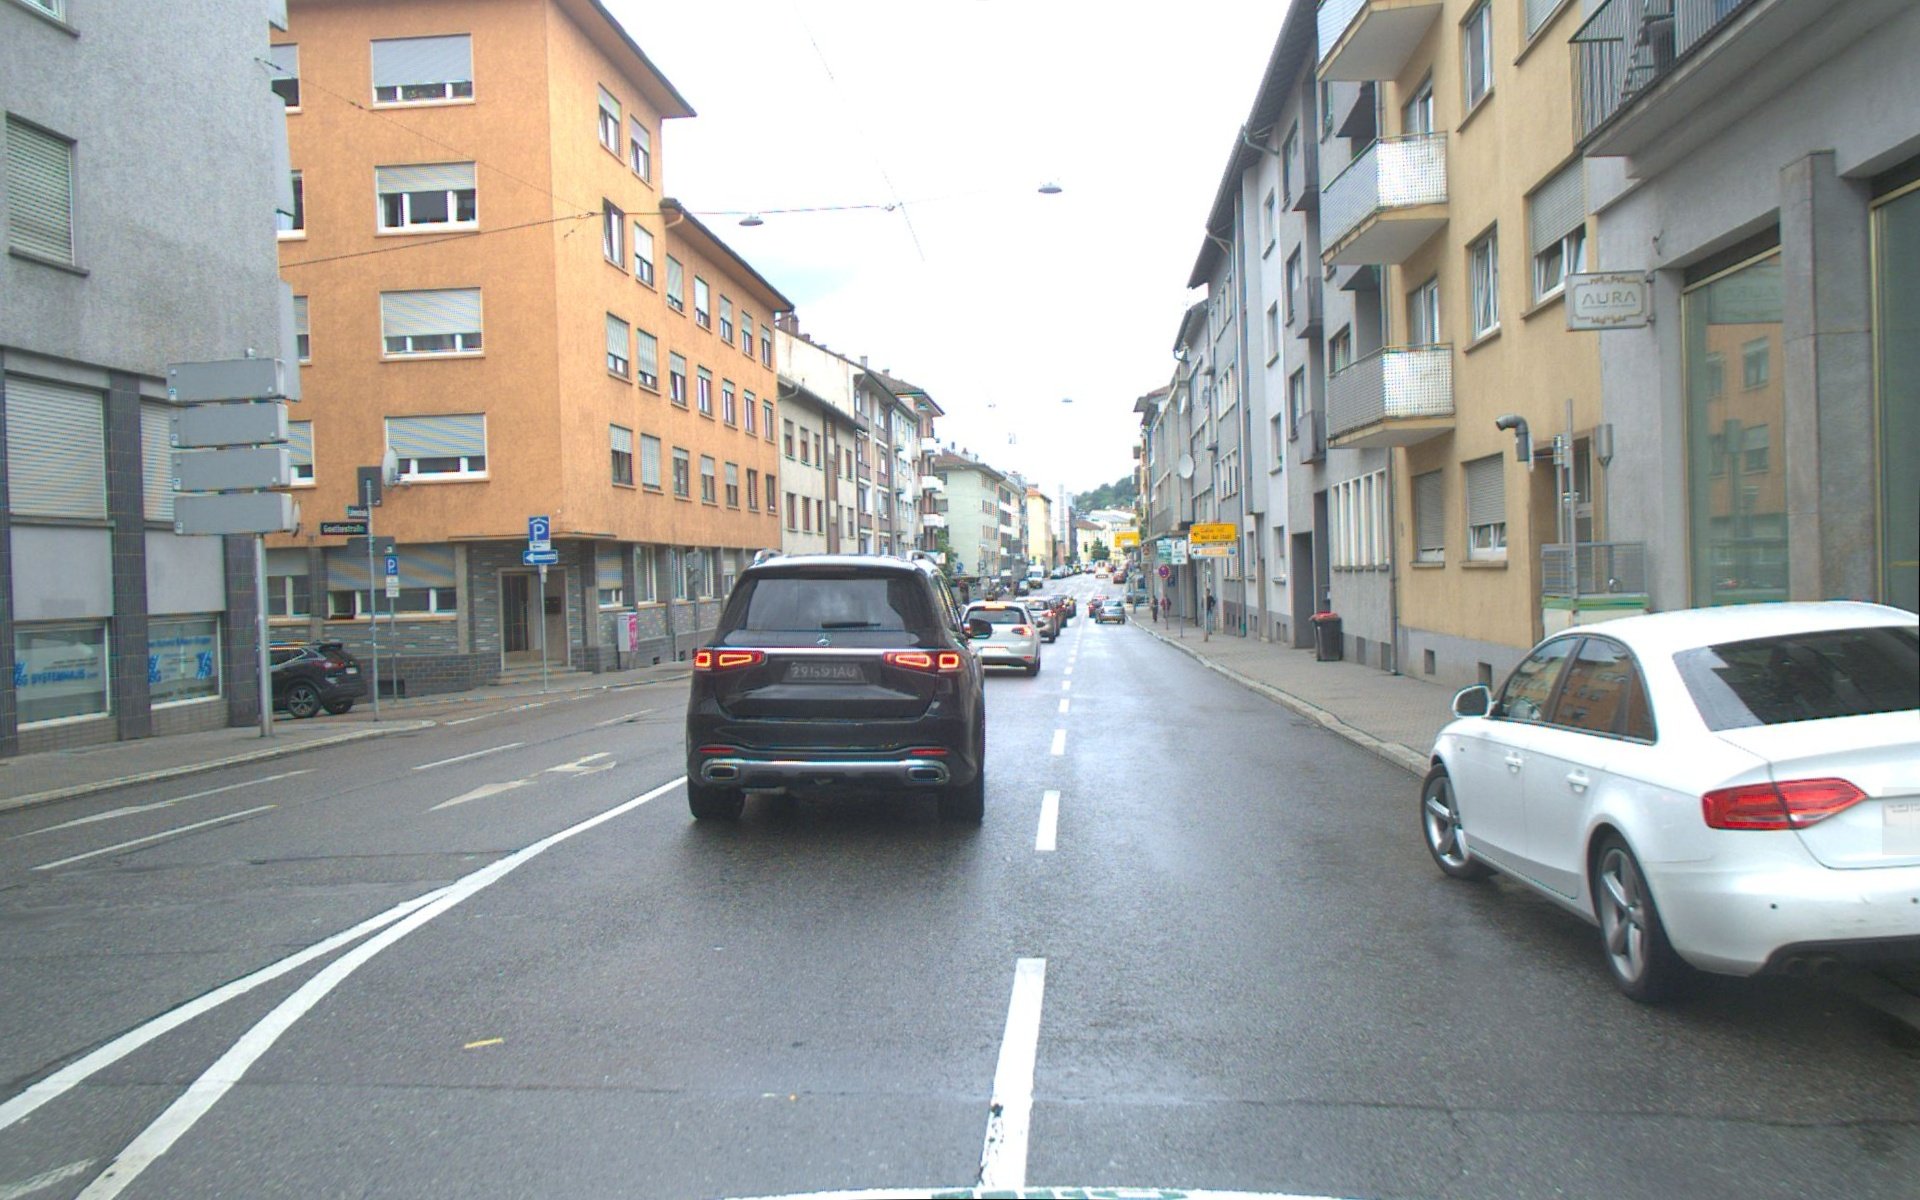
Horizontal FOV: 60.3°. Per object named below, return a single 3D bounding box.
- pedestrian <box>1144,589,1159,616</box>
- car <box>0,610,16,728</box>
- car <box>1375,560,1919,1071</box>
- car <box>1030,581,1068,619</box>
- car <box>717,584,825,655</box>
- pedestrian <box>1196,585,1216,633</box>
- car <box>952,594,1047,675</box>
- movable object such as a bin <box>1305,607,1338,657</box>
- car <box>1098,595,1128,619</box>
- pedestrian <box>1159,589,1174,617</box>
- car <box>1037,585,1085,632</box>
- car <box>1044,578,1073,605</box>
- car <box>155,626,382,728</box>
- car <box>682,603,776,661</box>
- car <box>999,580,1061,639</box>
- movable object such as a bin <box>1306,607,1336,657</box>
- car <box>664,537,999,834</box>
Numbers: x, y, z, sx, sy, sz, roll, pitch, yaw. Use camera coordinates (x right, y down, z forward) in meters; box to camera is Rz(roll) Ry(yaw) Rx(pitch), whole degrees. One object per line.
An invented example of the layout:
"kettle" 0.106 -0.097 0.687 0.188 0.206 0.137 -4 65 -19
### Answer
"pedestrian" 11.058 0.142 95.457 0.803 1.592 0.900 -1 0 7
"car" -22.898 1.735 34.316 5.235 2.501 1.982 -6 0 -1
"car" 3.402 0.645 7.538 1.855 1.426 4.610 -7 0 2
"car" 5.072 -0.024 93.870 1.951 2.049 4.003 -1 1 6
"car" -4.545 0.429 40.391 1.789 1.440 4.297 -5 1 3
"pedestrian" 9.481 0.330 63.714 0.641 1.782 0.742 -4 0 9
"car" 0.850 0.670 34.710 1.854 1.537 4.175 0 1 2
"movable object such as a bin" 7.580 0.673 34.728 0.551 0.979 0.475 -5 0 6
"car" 9.572 0.399 103.809 1.698 1.412 4.585 -1 1 3
"pedestrian" 11.900 0.146 95.372 0.803 1.592 0.900 -1 0 7
"car" 4.556 0.353 74.277 1.951 2.049 4.003 -1 1 6
"car" 7.521 -0.663 125.951 1.951 2.049 4.003 -1 1 6
"car" -14.751 1.625 35.421 3.905 1.680 1.931 -6 0 4
"car" -6.530 0.882 47.202 1.852 1.484 4.551 -1 1 2
"car" 2.586 0.301 60.282 1.951 2.049 4.003 -1 1 6
"movable object such as a bin" 7.468 0.664 34.190 0.463 0.979 0.565 -5 0 6
"car" -0.788 0.488 12.453 2.033 1.796 4.611 -1 1 0
